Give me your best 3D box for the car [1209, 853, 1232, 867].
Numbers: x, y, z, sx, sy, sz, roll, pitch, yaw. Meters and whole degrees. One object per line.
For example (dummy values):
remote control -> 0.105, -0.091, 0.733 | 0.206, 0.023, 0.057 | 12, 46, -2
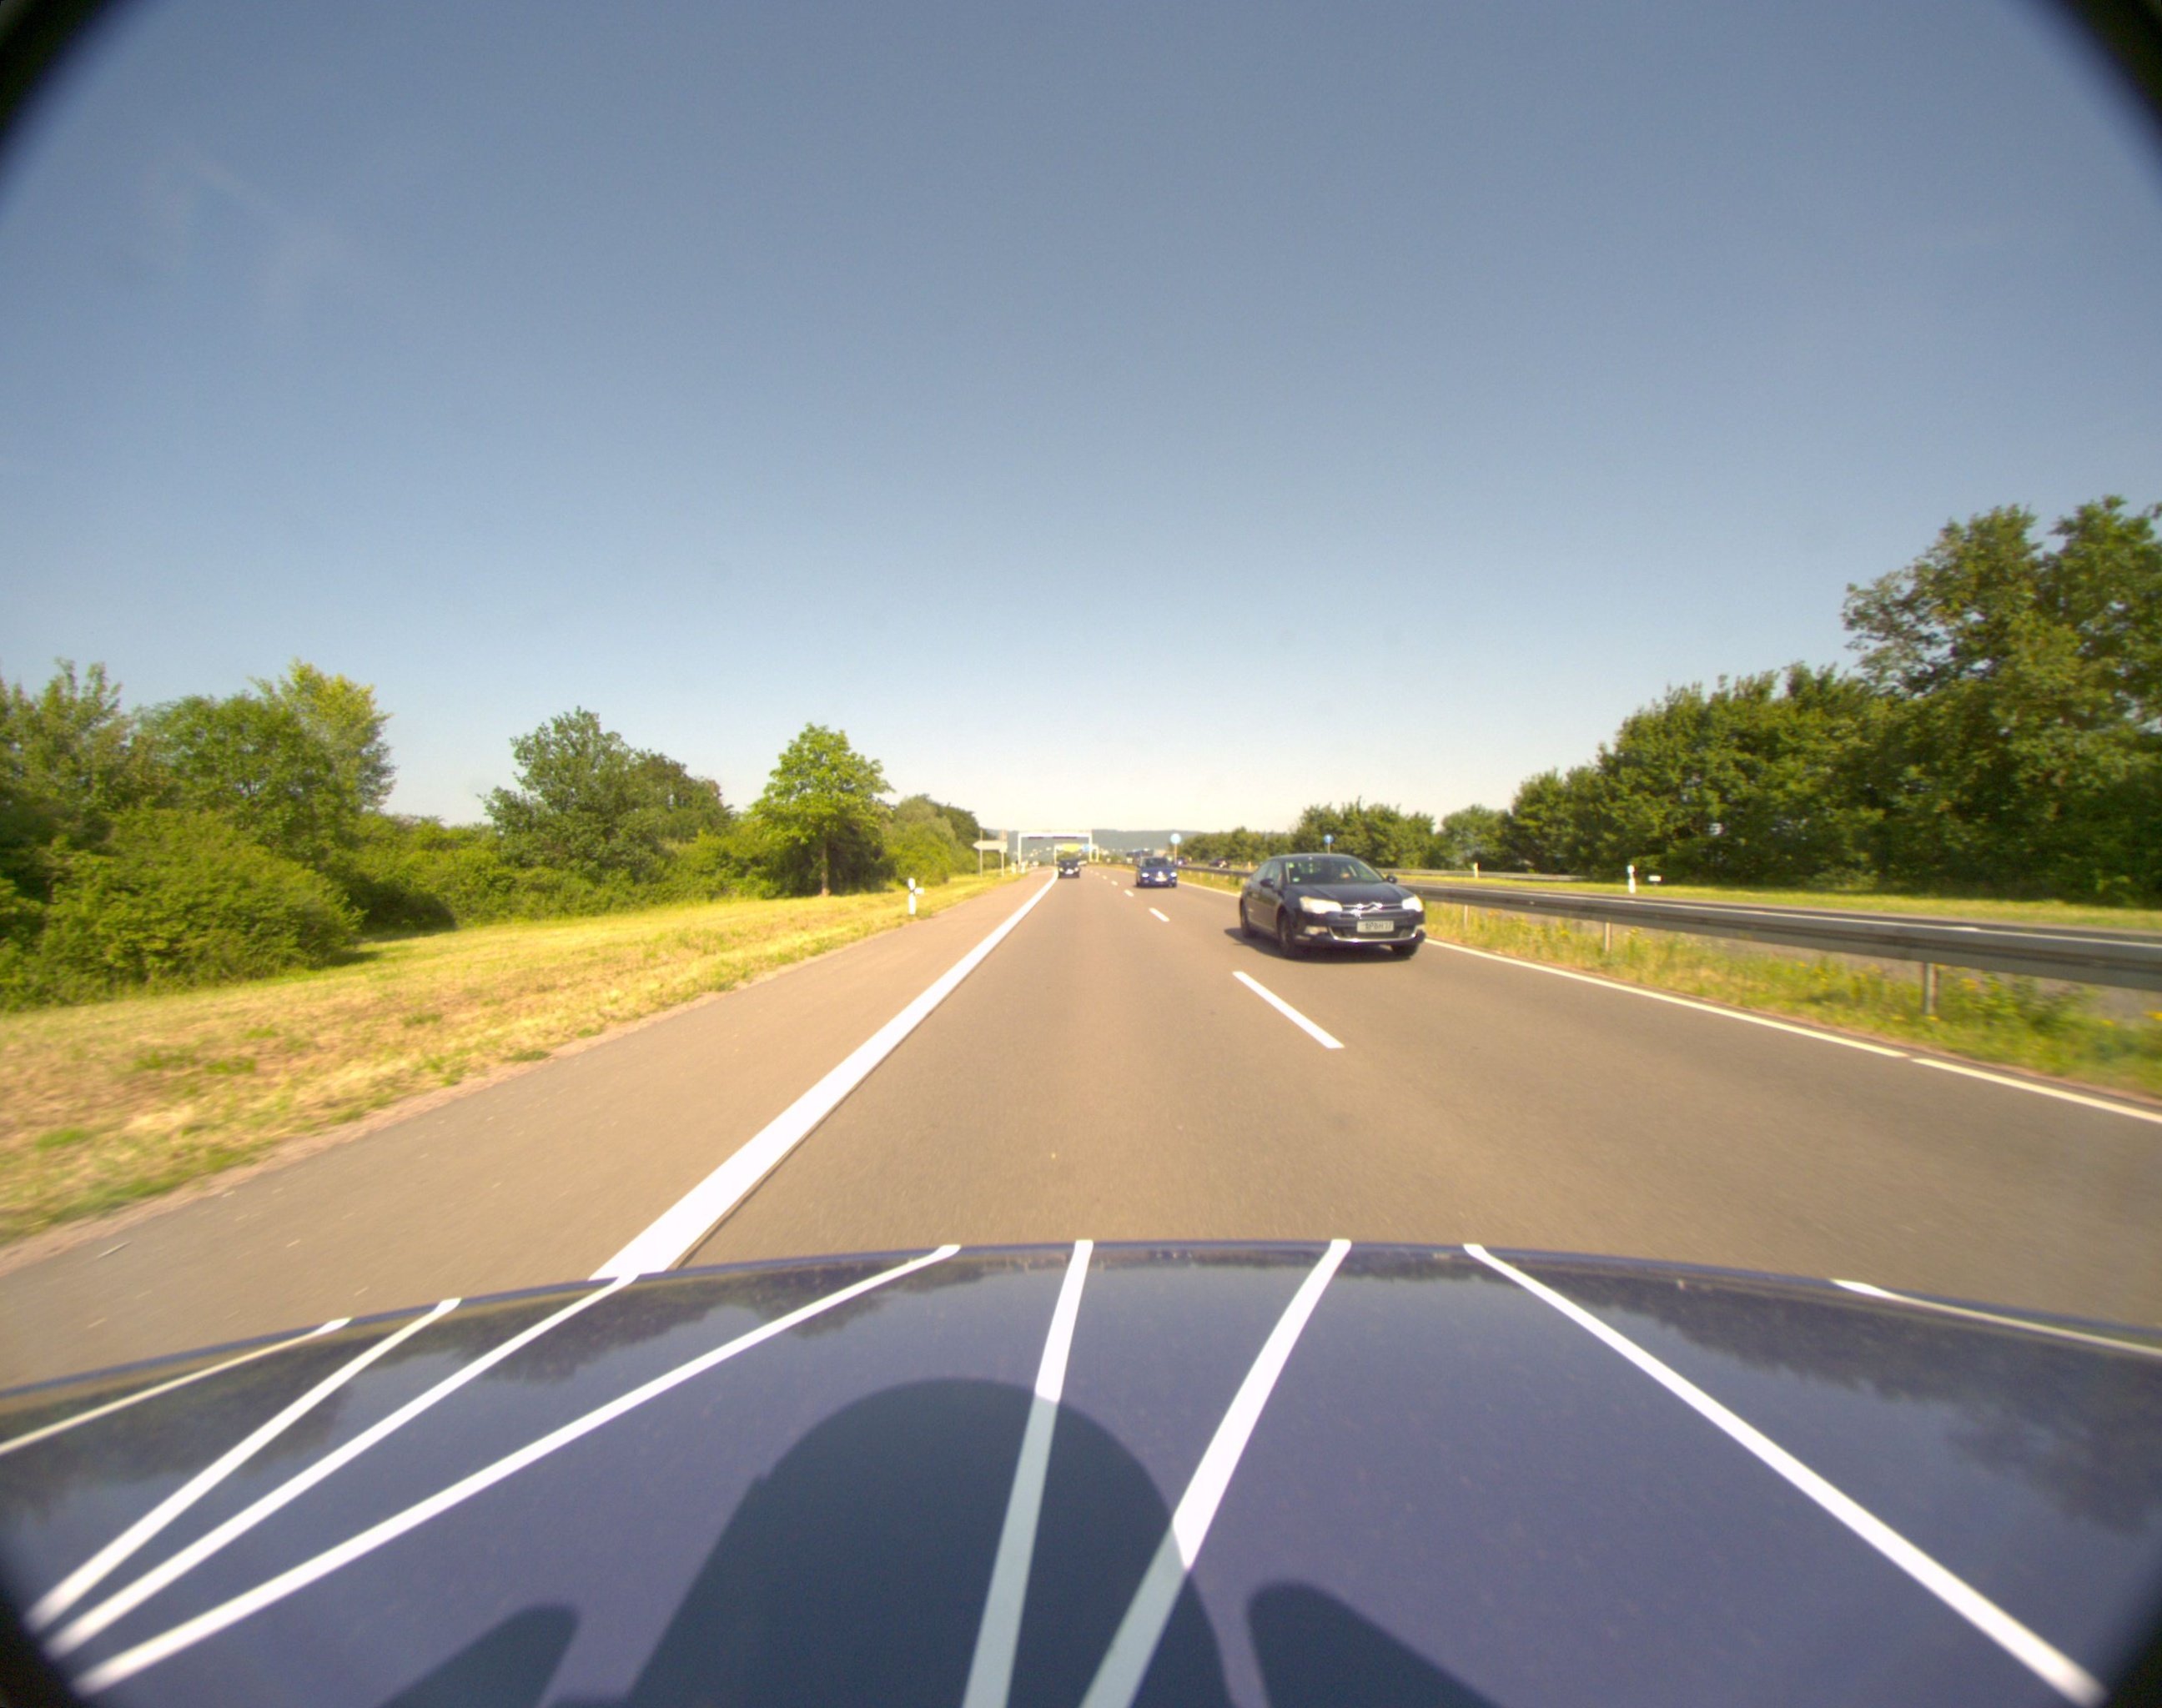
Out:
car -> 17.652, 0.734, 96.268 | 1.839, 1.690, 4.751 | -1, 0, -3

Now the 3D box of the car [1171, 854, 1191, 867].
car -> 13.338, 0.864, 101.646 | 1.999, 1.596, 4.274 | -2, -1, -1

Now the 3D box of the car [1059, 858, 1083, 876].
car -> -0.717, 0.948, 57.074 | 1.600, 1.241, 4.001 | -2, -1, 2

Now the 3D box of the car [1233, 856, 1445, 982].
car -> 3.694, 0.823, 11.762 | 1.788, 1.524, 4.375 | -2, 0, 1

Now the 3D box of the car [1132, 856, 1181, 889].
car -> 3.533, 0.848, 36.205 | 1.652, 1.403, 3.774 | -2, 0, -4

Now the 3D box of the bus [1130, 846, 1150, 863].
bus -> 11.135, 0.162, 145.168 | 2.733, 3.092, 9.833 | -1, 0, -2

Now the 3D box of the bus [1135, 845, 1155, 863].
bus -> 11.394, 0.012, 136.065 | 2.732, 3.092, 8.392 | -1, 0, -1

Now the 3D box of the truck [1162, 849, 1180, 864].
truck -> 15.832, 0.415, 133.320 | 2.132, 2.439, 6.615 | 1, 0, -2
